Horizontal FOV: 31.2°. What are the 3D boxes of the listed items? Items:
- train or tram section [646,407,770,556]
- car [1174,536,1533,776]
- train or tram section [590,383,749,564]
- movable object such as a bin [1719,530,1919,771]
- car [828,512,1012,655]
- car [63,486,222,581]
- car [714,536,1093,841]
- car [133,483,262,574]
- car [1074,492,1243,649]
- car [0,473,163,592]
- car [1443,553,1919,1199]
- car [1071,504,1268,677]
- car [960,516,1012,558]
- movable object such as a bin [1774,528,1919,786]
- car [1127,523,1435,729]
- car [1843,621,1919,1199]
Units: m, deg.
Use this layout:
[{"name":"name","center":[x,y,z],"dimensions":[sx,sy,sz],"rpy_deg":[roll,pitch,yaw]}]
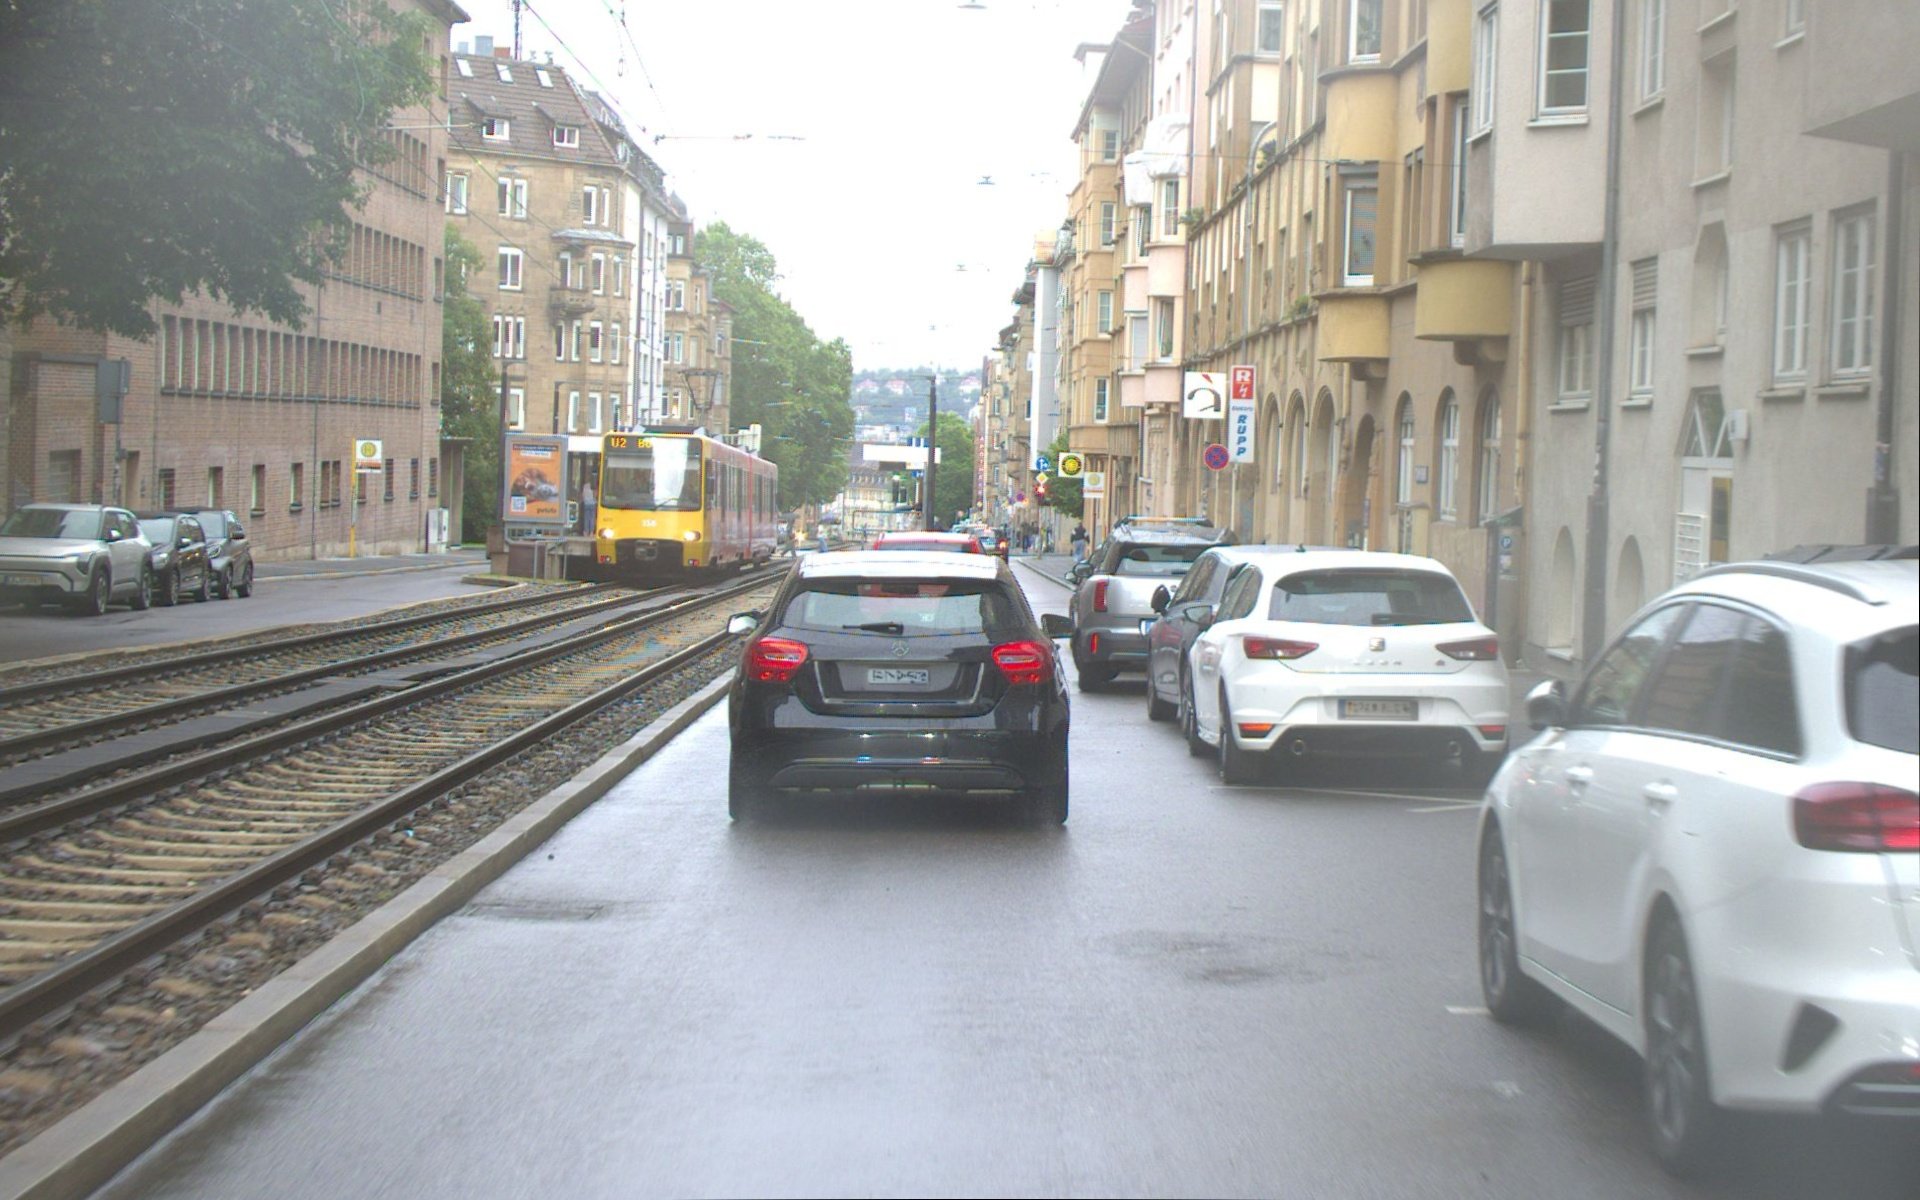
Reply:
[{"name":"train or tram section","center":[-7.399,-3.507,102.861],"dimensions":[2.745,4.047,15.663],"rpy_deg":[1,2,-1]},{"name":"car","center":[2.464,0.301,22.529],"dimensions":[1.789,1.381,4.395],"rpy_deg":[1,1,0]},{"name":"train or tram section","center":[-7.131,-3.118,86.655],"dimensions":[2.745,4.047,17.216],"rpy_deg":[1,2,-1]},{"name":"movable object such as a bin","center":[5.488,0.302,21.791],"dimensions":[1.018,1.463,1.323],"rpy_deg":[1,1,-1]},{"name":"car","center":[-0.442,-0.231,40.419],"dimensions":[1.993,1.520,4.246],"rpy_deg":[2,1,0]},{"name":"car","center":[-13.072,-1.095,55.174],"dimensions":[1.666,1.410,3.688],"rpy_deg":[2,2,-1]},{"name":"car","center":[-0.280,0.402,18.956],"dimensions":[1.834,1.448,3.902],"rpy_deg":[1,1,0]},{"name":"car","center":[-13.040,-1.238,58.936],"dimensions":[1.572,1.461,3.045],"rpy_deg":[2,2,-2]},{"name":"car","center":[2.324,-0.365,41.174],"dimensions":[1.778,1.744,4.548],"rpy_deg":[1,1,1]},{"name":"car","center":[-13.085,-1.019,50.116],"dimensions":[1.961,1.600,4.329],"rpy_deg":[2,2,-1]},{"name":"car","center":[2.509,0.624,9.286],"dimensions":[1.712,1.463,4.774],"rpy_deg":[1,1,0]},{"name":"car","center":[2.081,-0.124,35.119],"dimensions":[1.841,1.602,4.760],"rpy_deg":[1,1,2]},{"name":"car","center":[1.016,-2.465,134.113],"dimensions":[1.887,1.520,4.245],"rpy_deg":[2,1,2]},{"name":"movable object such as a bin","center":[5.470,0.323,20.294],"dimensions":[0.980,1.463,1.273],"rpy_deg":[1,1,-1]},{"name":"car","center":[2.444,0.159,27.198],"dimensions":[1.832,1.463,4.376],"rpy_deg":[1,1,-2]},{"name":"car","center":[2.481,0.794,4.104],"dimensions":[1.711,1.405,4.817],"rpy_deg":[1,1,1]}]
